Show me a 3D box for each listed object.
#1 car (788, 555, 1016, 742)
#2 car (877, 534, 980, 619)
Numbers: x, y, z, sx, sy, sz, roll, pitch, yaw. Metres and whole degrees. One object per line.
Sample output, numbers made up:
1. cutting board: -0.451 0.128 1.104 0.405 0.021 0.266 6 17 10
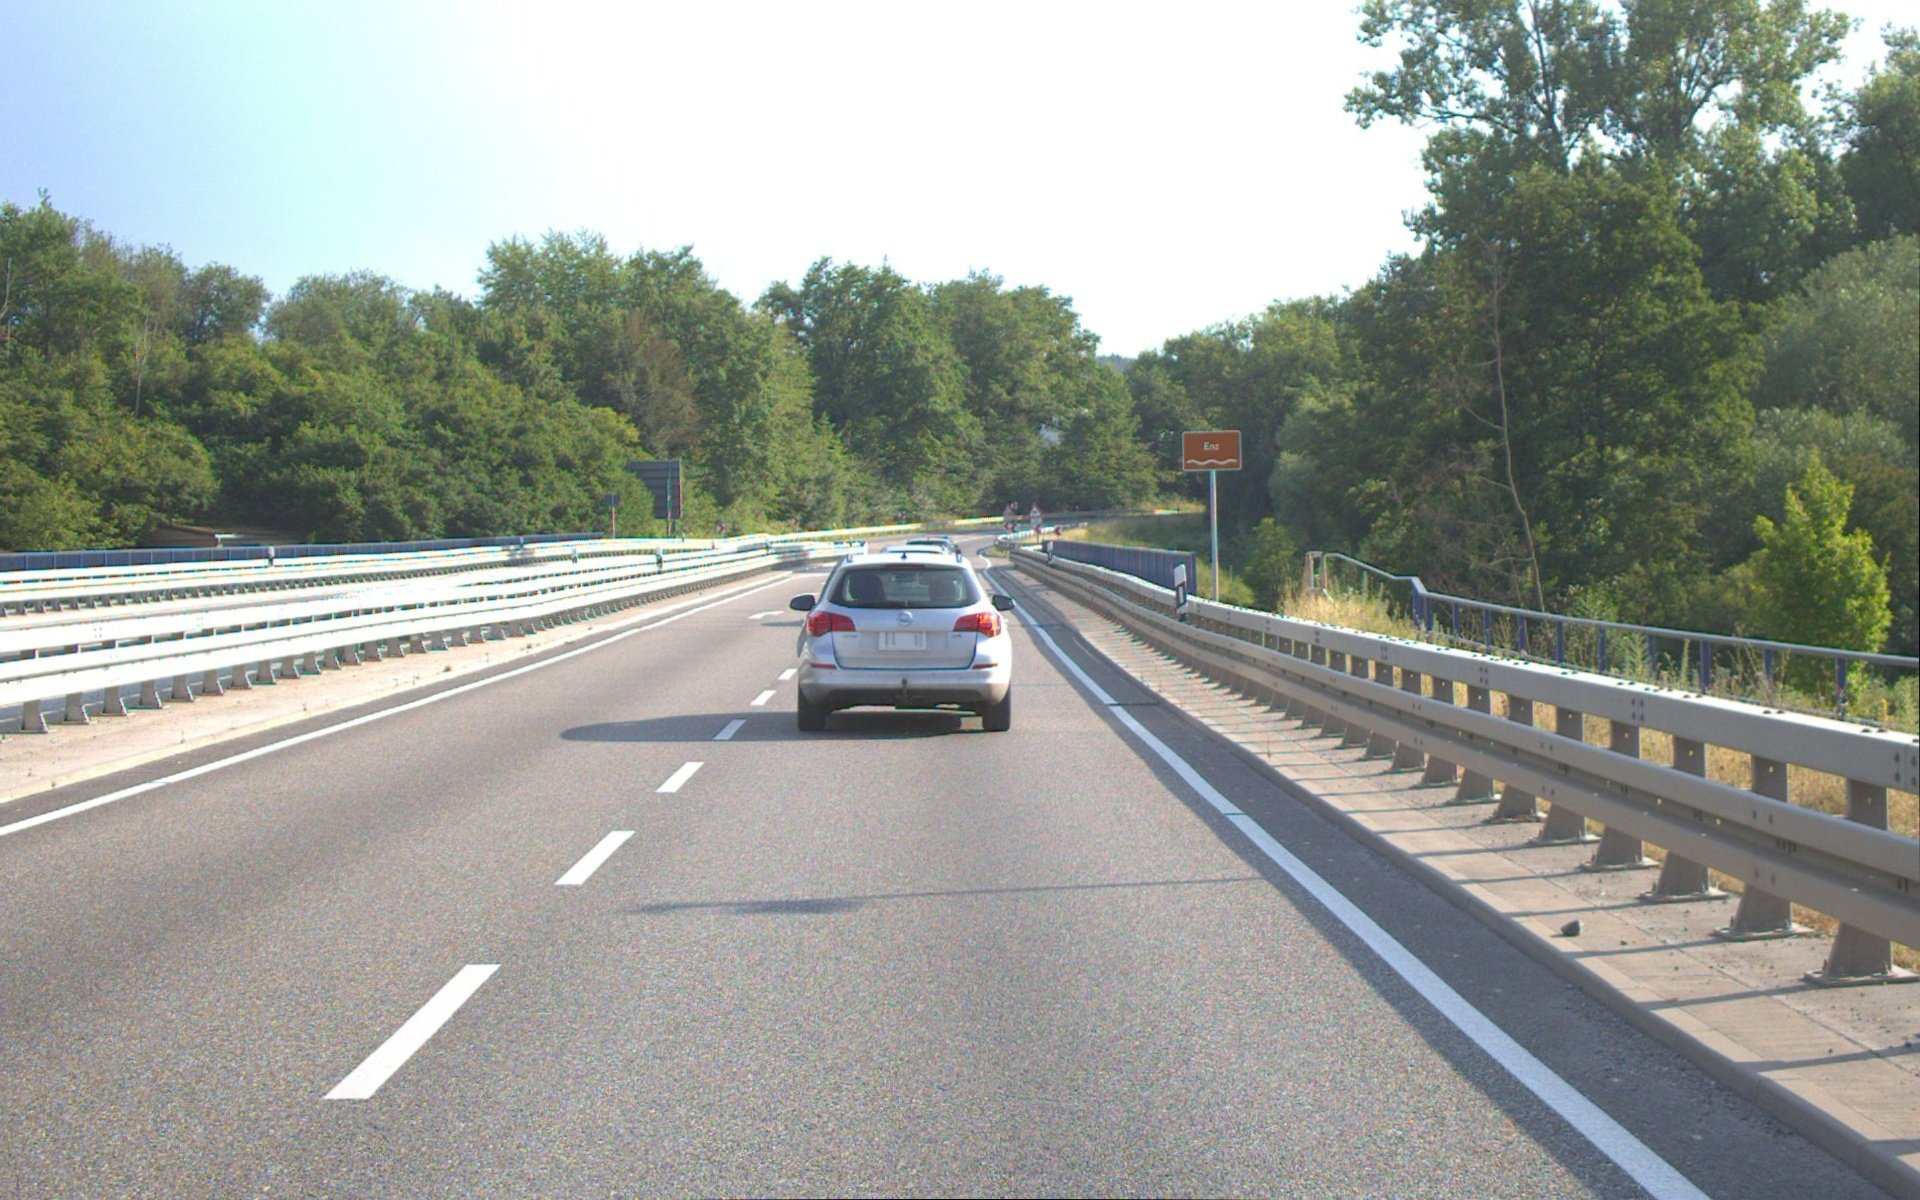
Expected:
1. car: -0.493 0.368 29.534 1.809 1.481 4.000 1 1 -1
2. car: -0.588 -0.432 62.747 1.809 1.481 4.000 1 1 -1
